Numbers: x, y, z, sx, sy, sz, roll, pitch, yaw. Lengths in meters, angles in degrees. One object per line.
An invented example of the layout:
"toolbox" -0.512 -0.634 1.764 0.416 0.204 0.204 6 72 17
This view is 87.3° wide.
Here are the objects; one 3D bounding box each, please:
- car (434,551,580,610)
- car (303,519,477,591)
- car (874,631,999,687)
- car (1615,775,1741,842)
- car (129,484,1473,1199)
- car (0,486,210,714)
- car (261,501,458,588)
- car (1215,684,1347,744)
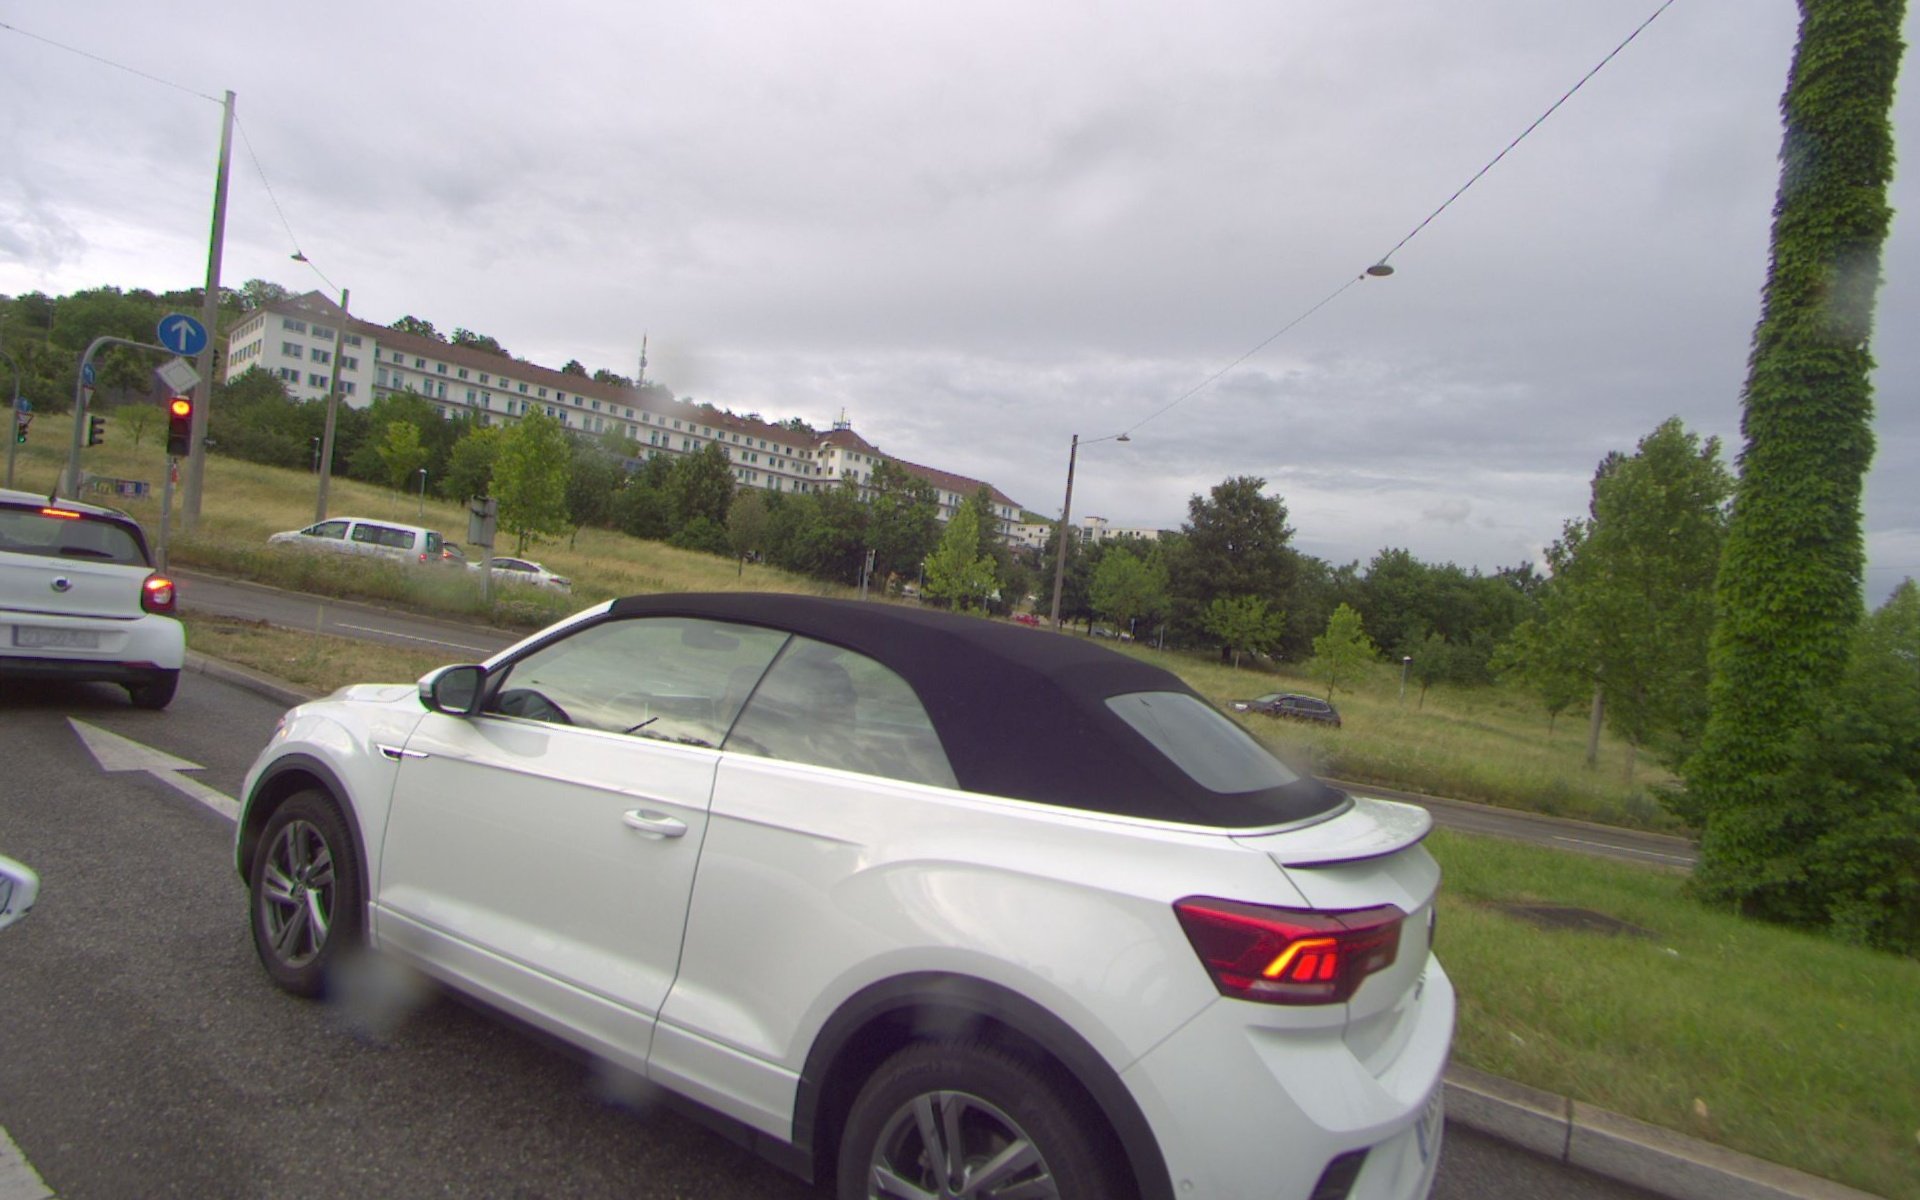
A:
"car" -16.659 -0.701 37.191 4.342 1.494 2.000 8 -2 -4
"car" -18.803 -1.451 33.387 4.448 1.639 1.998 8 -2 -8
"car" -0.896 2.189 37.870 4.421 1.494 2.001 8 -2 -2
"car" 30.538 8.853 42.843 3.931 2.037 1.999 8 -2 -7
"car" -0.715 0.639 3.377 4.157 1.571 1.717 6 -2 30
"car" -7.667 -0.110 8.062 3.399 1.520 1.658 6 -2 37
"car" -18.162 -1.642 30.637 4.618 1.871 1.820 8 -2 -8
"car" 12.480 4.422 39.332 4.342 1.655 2.000 8 -2 -4
